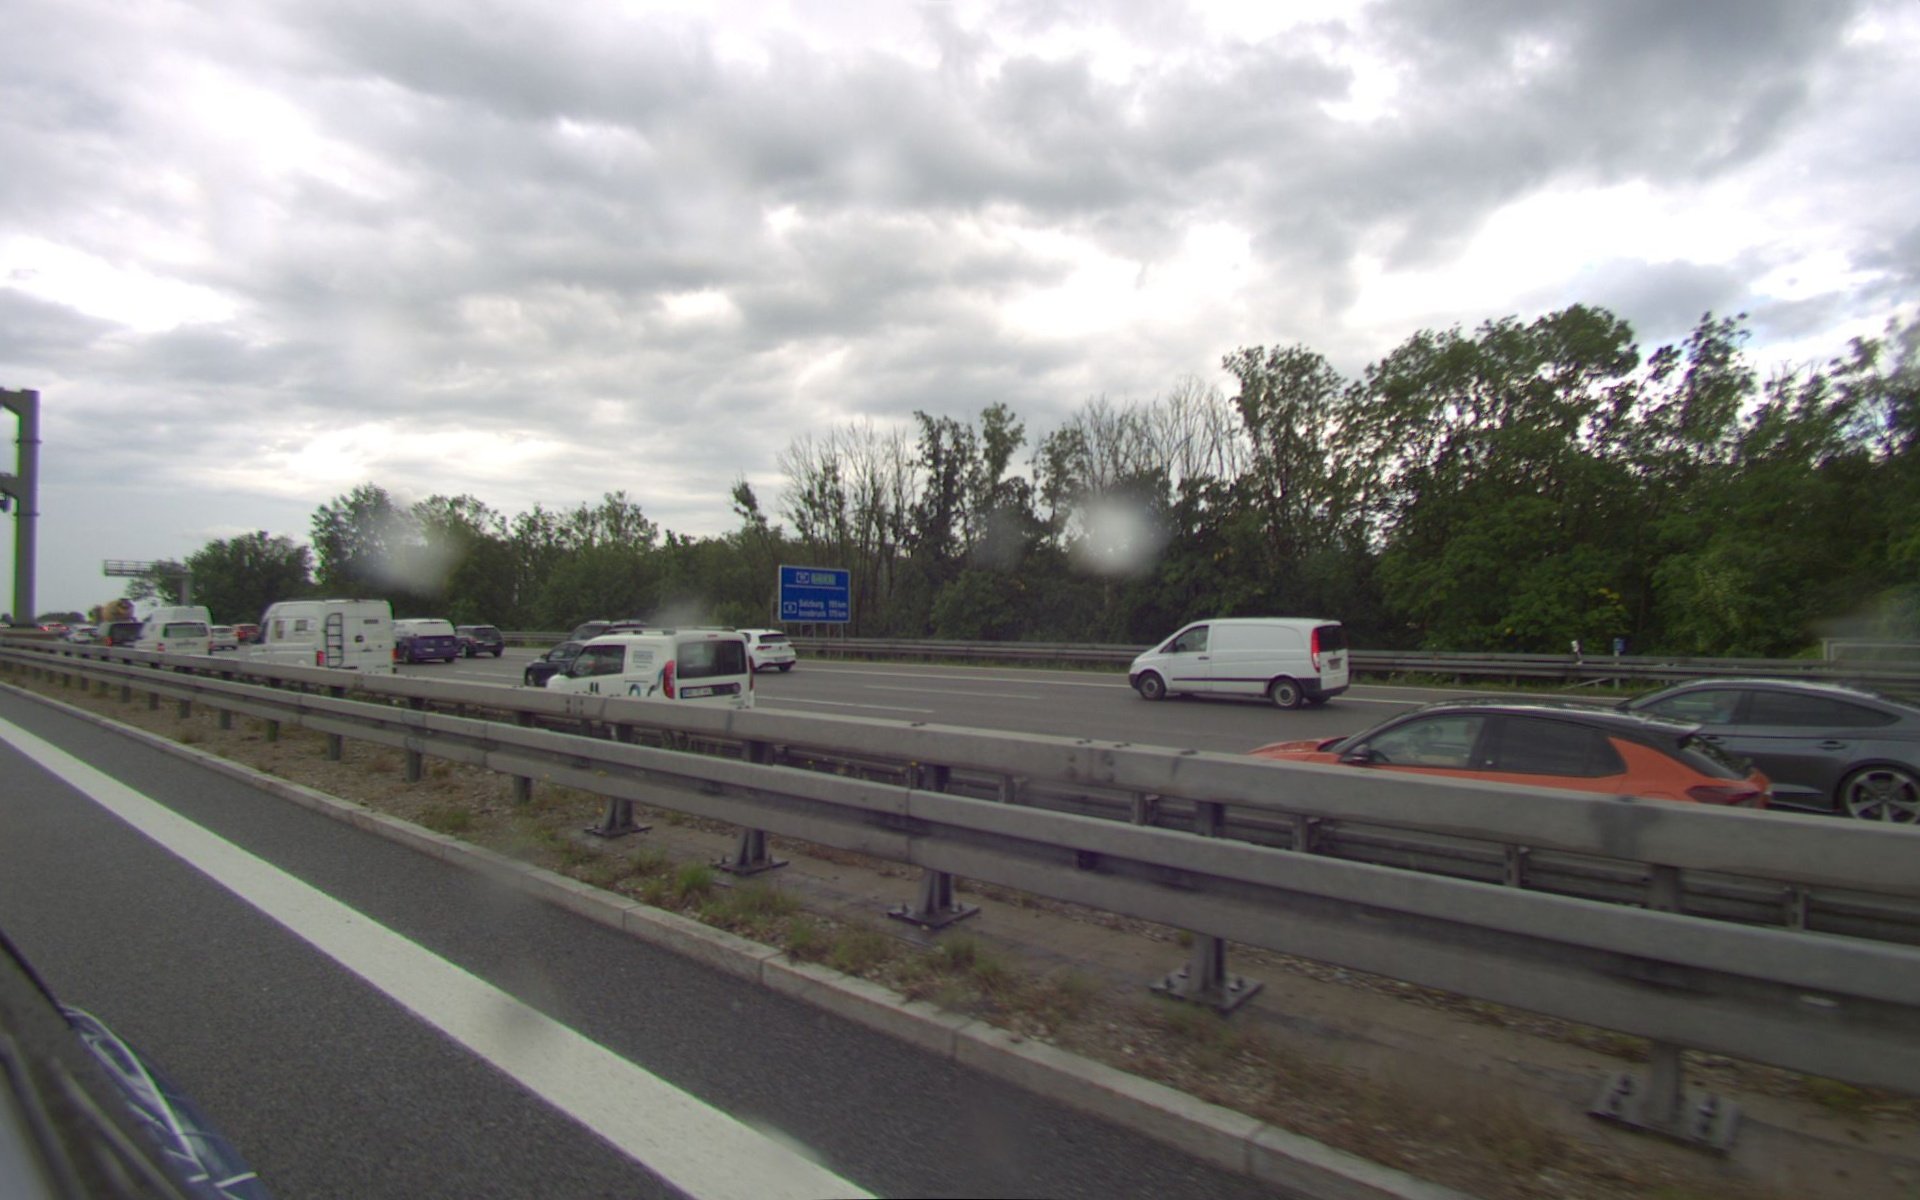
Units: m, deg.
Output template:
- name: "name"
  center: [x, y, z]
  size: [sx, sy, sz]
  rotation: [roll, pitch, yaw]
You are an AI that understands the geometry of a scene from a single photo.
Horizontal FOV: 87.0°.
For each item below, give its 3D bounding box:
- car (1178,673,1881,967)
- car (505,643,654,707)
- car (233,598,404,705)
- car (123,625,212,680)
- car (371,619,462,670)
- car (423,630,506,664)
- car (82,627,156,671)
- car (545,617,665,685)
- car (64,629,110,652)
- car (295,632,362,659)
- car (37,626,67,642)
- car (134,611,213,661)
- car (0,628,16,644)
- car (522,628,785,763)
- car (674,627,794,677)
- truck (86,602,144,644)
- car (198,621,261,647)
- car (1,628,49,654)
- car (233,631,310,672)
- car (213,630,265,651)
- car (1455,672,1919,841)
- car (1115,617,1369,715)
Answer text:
- name: "car"
  center: [4.182, 1.420, 8.002]
  size: [4.475, 1.472, 1.874]
  rotation: [-1, -2, 40]
- name: "car"
  center: [-10.128, 1.919, 26.775]
  size: [4.476, 1.435, 1.799]
  rotation: [-1, 0, 41]
- name: "car"
  center: [-18.365, 1.368, 28.761]
  size: [7.306, 2.698, 2.003]
  rotation: [-1, -2, 41]
- name: "car"
  center: [-32.236, 2.055, 41.121]
  size: [5.371, 2.093, 1.799]
  rotation: [-1, -2, 40]
- name: "car"
  center: [-23.506, 1.876, 43.704]
  size: [4.475, 2.093, 1.962]
  rotation: [-1, -2, 40]
- name: "car"
  center: [-23.788, 2.210, 48.501]
  size: [4.475, 1.506, 1.962]
  rotation: [-1, -2, 40]
- name: "car"
  center: [-39.696, 2.263, 47.715]
  size: [5.420, 1.919, 1.799]
  rotation: [-1, -2, 40]
- name: "car"
  center: [-11.979, 1.652, 33.999]
  size: [4.475, 2.093, 1.800]
  rotation: [-1, 0, 40]
- name: "car"
  center: [-63.548, 2.932, 73.630]
  size: [4.908, 1.505, 1.706]
  rotation: [-1, 0, 40]
- name: "car"
  center: [-37.324, 2.667, 59.790]
  size: [4.910, 1.506, 1.962]
  rotation: [-1, -2, 40]
- name: "car"
  center: [-93.252, 3.483, 103.937]
  size: [4.516, 1.615, 1.705]
  rotation: [-1, 0, 40]
- name: "car"
  center: [-44.993, 2.001, 57.788]
  size: [7.730, 2.673, 2.027]
  rotation: [-1, -2, 41]
- name: "car"
  center: [-95.974, 3.586, 101.188]
  size: [4.846, 1.481, 1.705]
  rotation: [-1, 0, 40]
- name: "car"
  center: [-5.379, 1.479, 17.347]
  size: [5.219, 1.967, 1.799]
  rotation: [-1, -2, 40]
- name: "car"
  center: [-7.948, 1.759, 35.412]
  size: [4.475, 1.620, 1.799]
  rotation: [-1, -2, 40]
- name: "truck"
  center: [-85.094, 2.300, 101.898]
  size: [9.575, 4.045, 2.886]
  rotation: [-1, -1, 40]
- name: "car"
  center: [-43.895, 1.993, 60.806]
  size: [4.910, 1.506, 1.962]
  rotation: [-1, -2, 40]
- name: "car"
  center: [-62.640, 2.739, 67.801]
  size: [4.908, 1.615, 1.706]
  rotation: [-1, 0, 40]
- name: "car"
  center: [-30.844, 2.256, 45.312]
  size: [4.476, 1.690, 1.799]
  rotation: [-1, 0, 41]
- name: "car"
  center: [-52.942, 2.948, 74.311]
  size: [4.910, 1.506, 1.962]
  rotation: [-1, -2, 40]
- name: "car"
  center: [7.969, 1.526, 10.737]
  size: [4.577, 1.307, 1.874]
  rotation: [-1, -2, 40]
- name: "car"
  center: [6.120, 1.354, 22.429]
  size: [5.136, 1.927, 1.874]
  rotation: [-1, -2, 41]
